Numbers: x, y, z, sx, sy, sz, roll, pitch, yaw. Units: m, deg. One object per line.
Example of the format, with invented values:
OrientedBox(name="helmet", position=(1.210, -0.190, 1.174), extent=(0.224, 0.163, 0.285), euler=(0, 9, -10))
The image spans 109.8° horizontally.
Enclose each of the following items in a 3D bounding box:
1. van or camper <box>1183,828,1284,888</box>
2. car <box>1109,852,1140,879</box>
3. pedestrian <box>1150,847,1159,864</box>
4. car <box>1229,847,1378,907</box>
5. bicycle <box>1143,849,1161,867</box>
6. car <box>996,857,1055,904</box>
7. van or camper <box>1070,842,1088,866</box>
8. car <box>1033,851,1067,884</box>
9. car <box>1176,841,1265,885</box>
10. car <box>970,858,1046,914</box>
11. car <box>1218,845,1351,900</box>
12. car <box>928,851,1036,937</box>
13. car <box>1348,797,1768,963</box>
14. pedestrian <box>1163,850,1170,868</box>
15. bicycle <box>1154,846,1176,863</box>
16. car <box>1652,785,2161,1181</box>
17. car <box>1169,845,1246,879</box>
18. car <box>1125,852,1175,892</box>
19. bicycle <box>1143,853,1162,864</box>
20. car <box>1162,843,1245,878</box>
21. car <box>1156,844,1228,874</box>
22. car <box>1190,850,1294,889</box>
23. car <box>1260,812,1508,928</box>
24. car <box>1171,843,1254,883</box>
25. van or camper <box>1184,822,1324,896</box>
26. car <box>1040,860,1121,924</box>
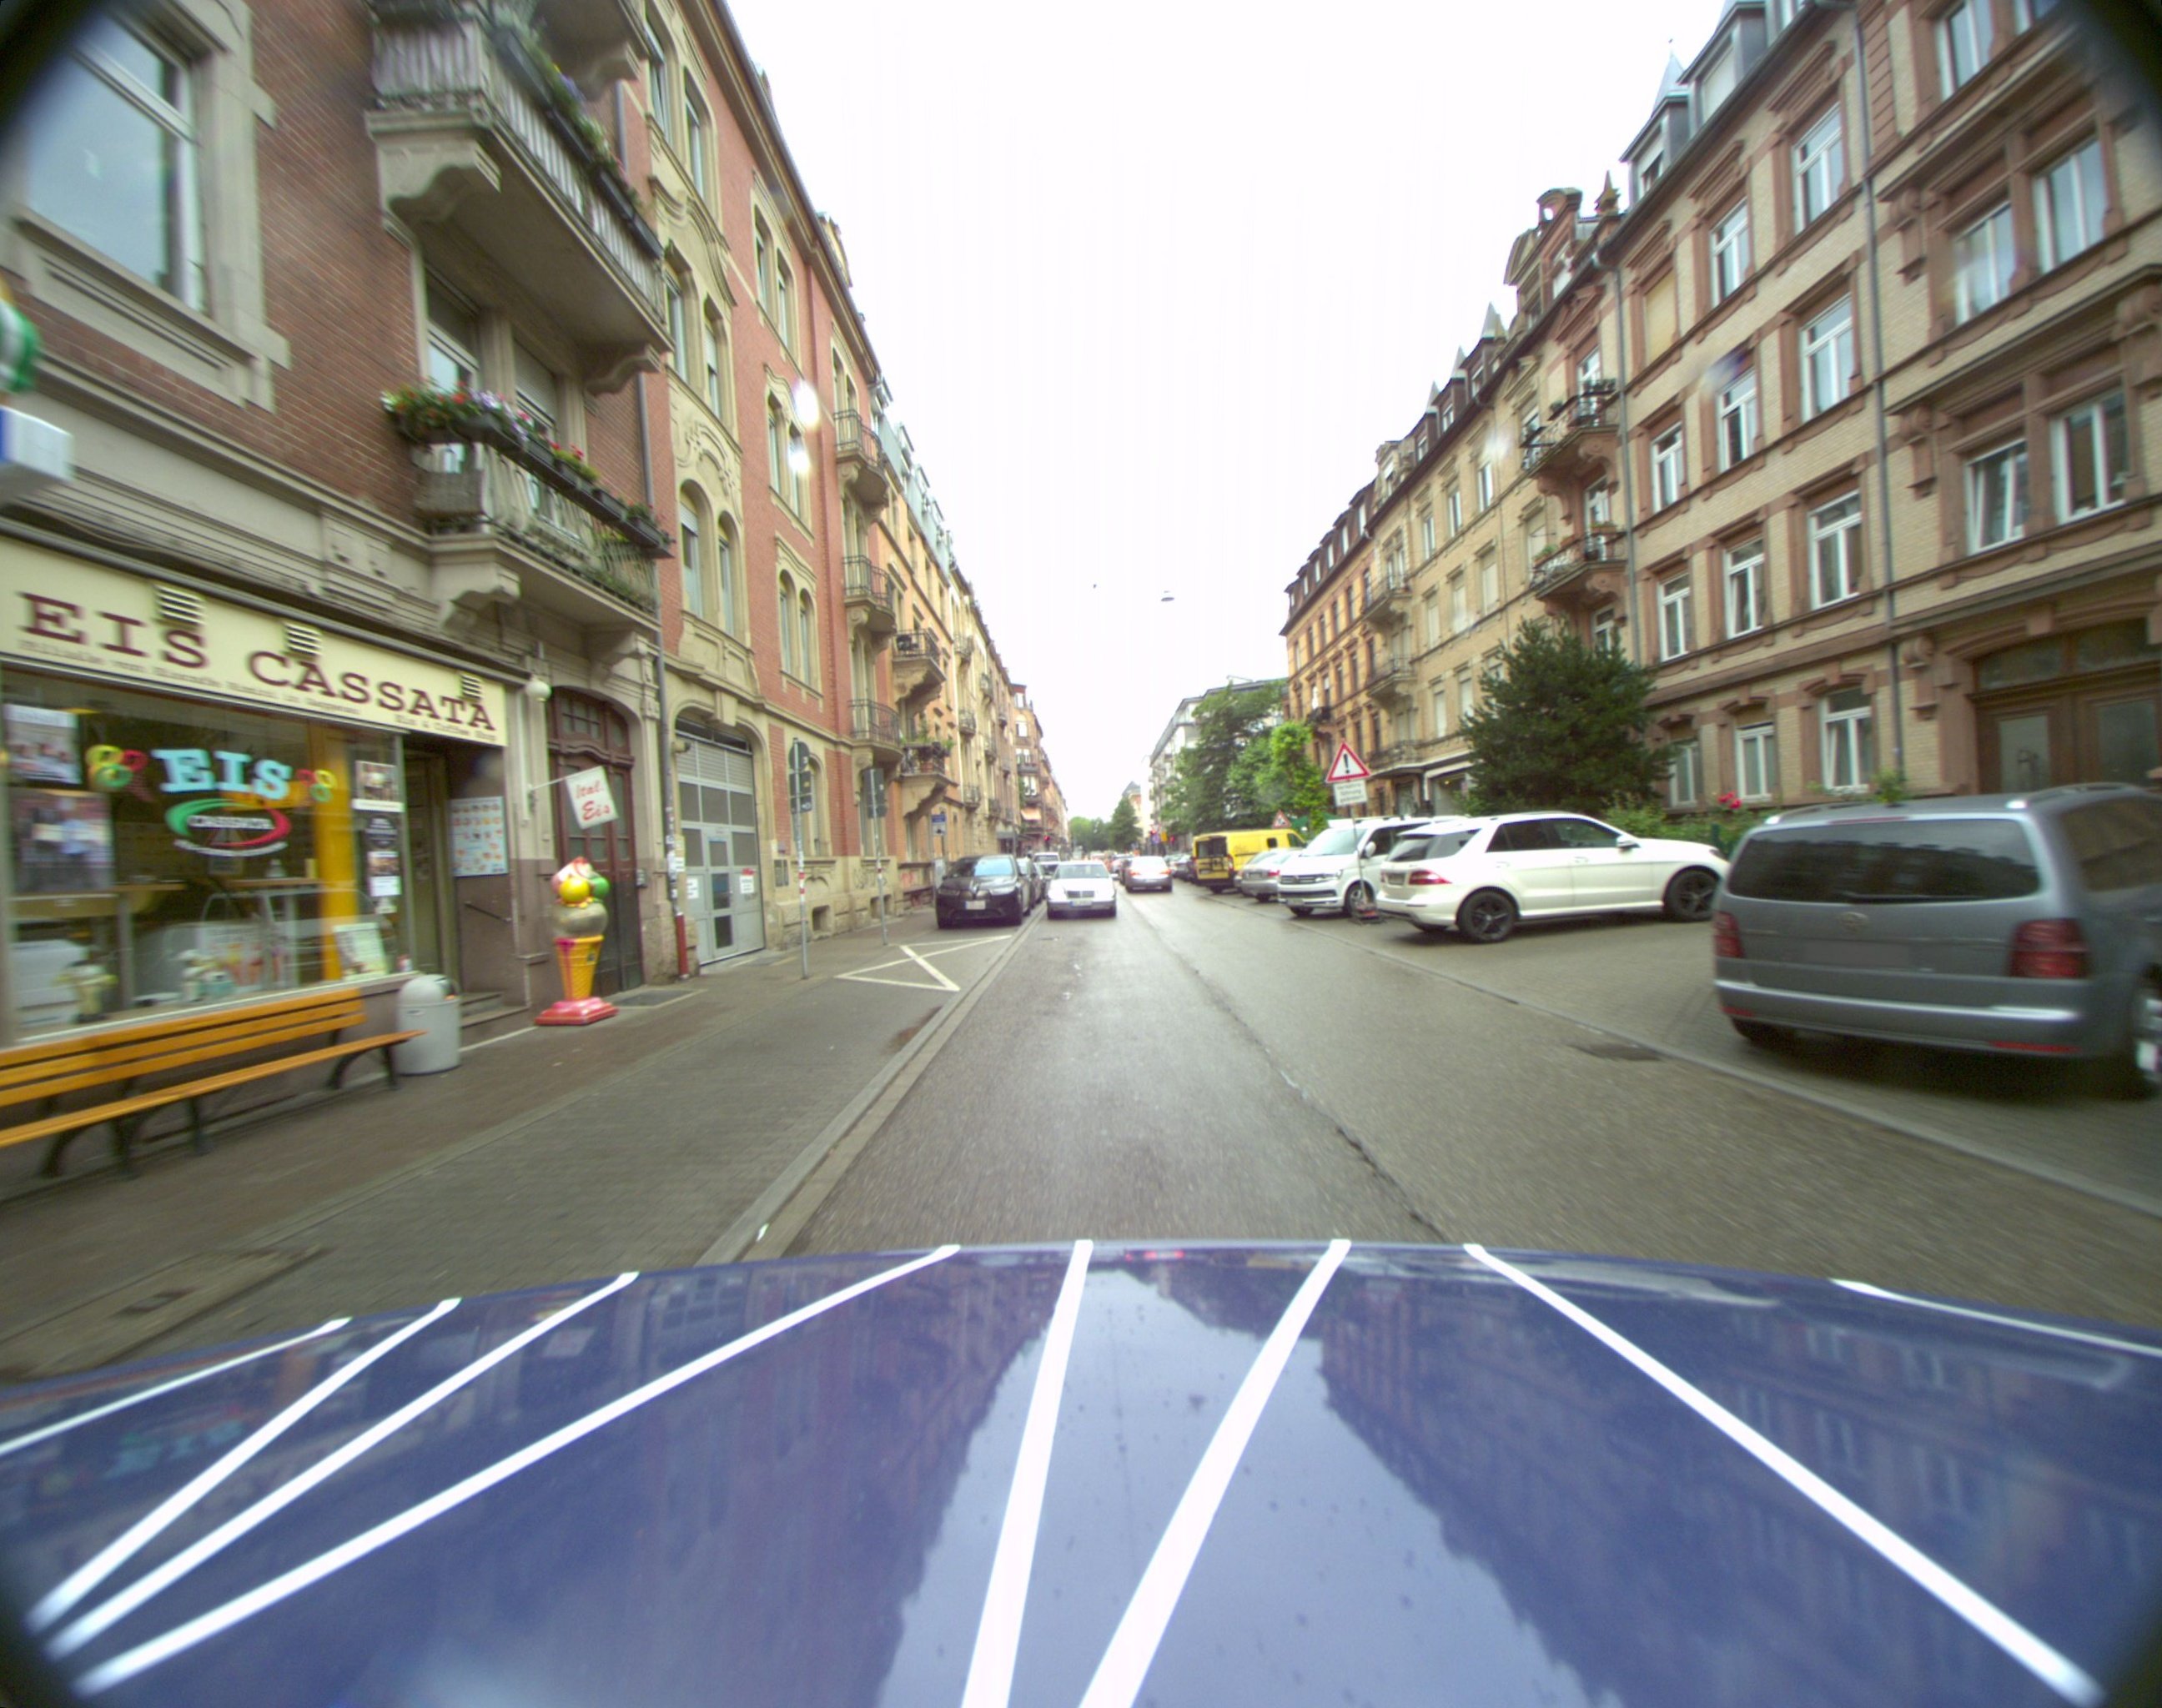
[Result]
OrientedBox(name="van or camper", position=(6.892, 0.162, 34.208), extent=(4.089, 2.227, 1.932), euler=(-7, 3, -31))
OrientedBox(name="car", position=(2.838, 0.715, 50.495), extent=(1.863, 1.650, 5.009), euler=(-3, 0, 2))
OrientedBox(name="pedestrian", position=(8.136, 0.128, 84.376), extent=(0.862, 1.837, 0.770), euler=(-4, 0, 9))
OrientedBox(name="car", position=(6.523, 0.630, 22.253), extent=(4.005, 1.427, 1.781), euler=(-4, 1, -28))
OrientedBox(name="bicycle", position=(4.852, 0.286, 52.001), extent=(0.400, 1.137, 1.679), euler=(-5, 1, -24))
OrientedBox(name="car", position=(-2.088, 0.976, 29.805), extent=(1.791, 1.458, 4.482), euler=(-3, 2, 1))
OrientedBox(name="van or camper", position=(-0.340, 0.057, 111.373), extent=(2.411, 3.308, 7.073), euler=(-4, 0, -1))
OrientedBox(name="car", position=(-1.958, 0.800, 49.052), extent=(1.999, 1.927, 5.229), euler=(-2, 0, -2))
OrientedBox(name="car", position=(6.816, 0.415, 36.935), extent=(4.143, 1.653, 1.797), euler=(-7, 3, -35))
OrientedBox(name="car", position=(-2.250, 0.950, 24.579), extent=(1.876, 1.552, 4.345), euler=(-2, 0, 1))
OrientedBox(name="car", position=(6.748, 0.576, 25.150), extent=(3.924, 1.486, 1.959), euler=(-4, 1, -30))
OrientedBox(name="car", position=(-2.282, 0.850, 18.894), extent=(1.999, 1.769, 4.826), euler=(-3, 0, 0))
OrientedBox(name="car", position=(6.826, 0.346, 11.424), extent=(4.590, 1.775, 2.545), euler=(-6, 0, 0))
OrientedBox(name="pedestrian", position=(9.333, 0.544, 83.171), extent=(0.604, 1.837, 0.770), euler=(-4, 0, 9))
OrientedBox(name="bicycle", position=(5.796, 0.053, 52.450), extent=(0.588, 1.137, 1.679), euler=(-5, 1, -27))
OrientedBox(name="car", position=(6.287, 0.497, 5.205), extent=(4.449, 1.621, 1.841), euler=(-6, 0, -25))
OrientedBox(name="car", position=(7.209, 0.444, 43.115), extent=(4.143, 1.485, 1.797), euler=(-7, 3, -34))
OrientedBox(name="car", position=(2.888, 0.814, 32.606), extent=(1.799, 1.484, 4.585), euler=(-4, -2, 2))
OrientedBox(name="bicycle", position=(7.940, 0.537, 84.297), extent=(1.896, 1.028, 0.661), euler=(-6, 0, -14))
OrientedBox(name="car", position=(7.391, 0.386, 45.743), extent=(4.731, 1.554, 1.996), euler=(-6, 0, -33))
OrientedBox(name="car", position=(7.404, 0.339, 50.562), extent=(4.464, 1.555, 1.995), euler=(-6, 3, -35))
OrientedBox(name="car", position=(6.658, 0.618, 31.428), extent=(4.006, 1.486, 1.823), euler=(-1, 0, -31))
OrientedBox(name="car", position=(6.749, 0.271, 16.821), extent=(5.258, 2.066, 1.866), euler=(-4, 1, -24))
OrientedBox(name="car", position=(6.973, 0.447, 40.095), extent=(4.143, 1.652, 1.797), euler=(-7, 2, -35))
OrientedBox(name="van or camper", position=(6.444, 0.181, 28.197), extent=(4.733, 2.254, 2.180), euler=(-6, 0, -32))
OrientedBox(name="car", position=(-0.007, 0.932, 20.814), extent=(1.859, 1.390, 4.979), euler=(-3, 0, 0))
